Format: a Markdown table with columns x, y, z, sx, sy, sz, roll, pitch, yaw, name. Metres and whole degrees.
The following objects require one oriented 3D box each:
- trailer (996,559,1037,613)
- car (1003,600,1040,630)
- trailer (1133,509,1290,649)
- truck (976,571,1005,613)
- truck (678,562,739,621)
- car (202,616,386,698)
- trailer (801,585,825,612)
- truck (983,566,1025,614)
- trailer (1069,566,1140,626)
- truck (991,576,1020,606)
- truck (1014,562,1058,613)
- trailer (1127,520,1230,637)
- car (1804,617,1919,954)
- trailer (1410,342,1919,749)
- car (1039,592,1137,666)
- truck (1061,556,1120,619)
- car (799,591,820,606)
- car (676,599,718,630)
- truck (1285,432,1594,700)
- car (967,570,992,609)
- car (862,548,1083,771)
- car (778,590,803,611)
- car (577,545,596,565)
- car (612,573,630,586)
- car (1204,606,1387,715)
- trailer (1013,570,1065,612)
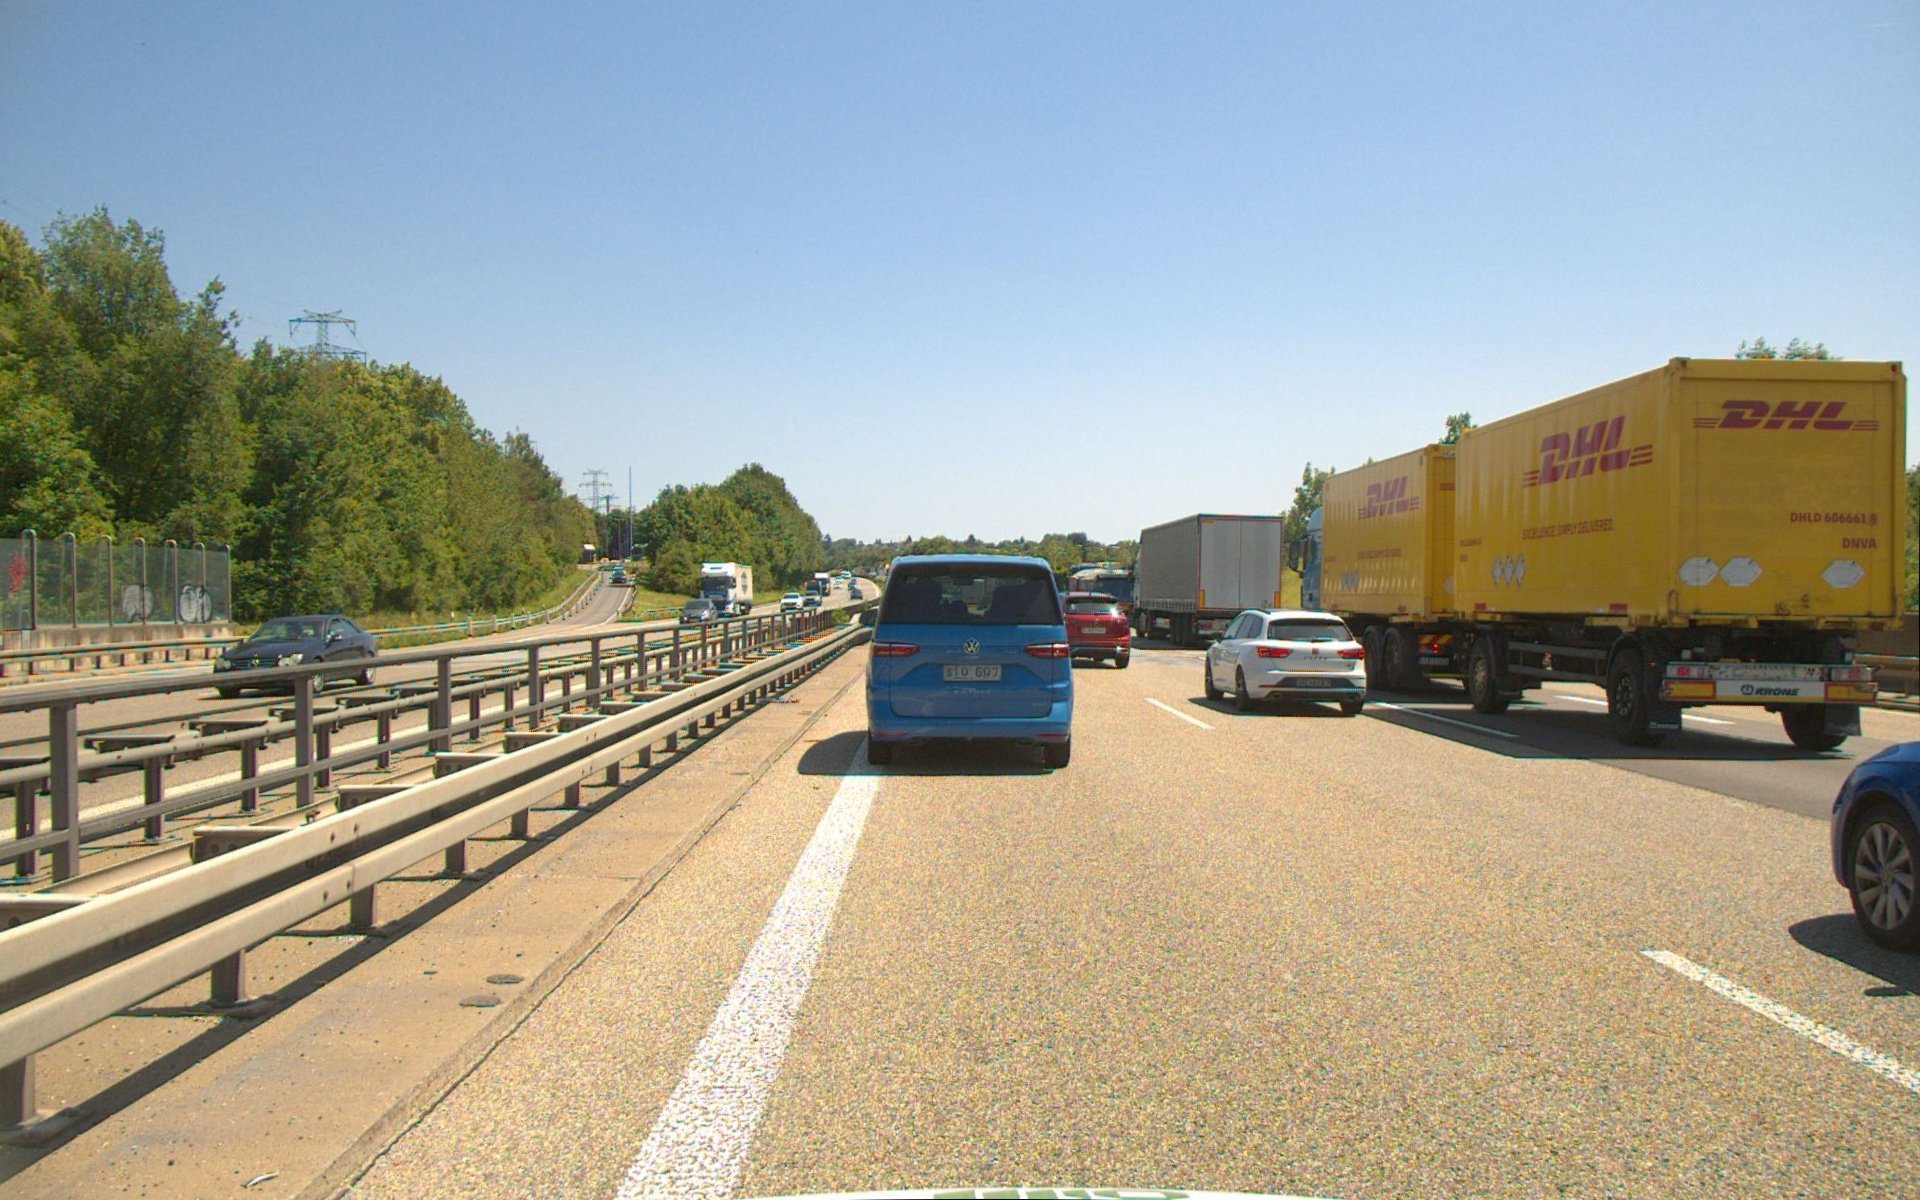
| x | y | z | sx | sy | sz | roll | pitch | yaw | name |
| --- | --- | --- | --- | --- | --- | --- | --- | --- | --- |
| 5.755 | -1.343 | 169.667 | 3.572 | 5.226 | 13.073 | 1 | 0 | -1 | trailer |
| 3.314 | 0.801 | 89.975 | 1.745 | 1.551 | 3.999 | 1 | 0 | -2 | car |
| 8.134 | -0.666 | 55.656 | 2.902 | 4.120 | 13.749 | 0 | 0 | -1 | trailer |
| 3.718 | -0.976 | 206.214 | 3.006 | 5.006 | 10.686 | 1 | 0 | -2 | truck |
| -18.936 | -0.604 | 124.943 | 3.924 | 4.302 | 4.857 | -1 | 0 | -1 | truck |
| -12.316 | 1.009 | 30.885 | 1.725 | 1.342 | 4.269 | -2 | 0 | -1 | car |
| -16.603 | -0.157 | 186.659 | 2.122 | 2.825 | 5.375 | -3 | 0 | -1 | trailer |
| 4.949 | -1.064 | 189.881 | 3.549 | 5.304 | 15.680 | 1 | 0 | -3 | truck |
| 7.451 | -0.296 | 86.612 | 2.688 | 2.886 | 9.114 | 1 | 1 | -1 | trailer |
| 2.991 | -0.571 | 109.242 | 1.690 | 1.890 | 3.999 | 1 | 0 | -2 | truck |
| 6.506 | -1.038 | 142.622 | 3.551 | 4.166 | 7.524 | 1 | 0 | 1 | truck |
| 8.037 | -0.785 | 61.538 | 2.865 | 4.114 | 6.409 | 0 | 1 | -1 | trailer |
| 5.055 | 0.822 | 5.994 | 1.671 | 1.466 | 4.427 | 1 | 0 | -1 | car |
| 8.645 | -0.547 | 21.895 | 2.709 | 4.189 | 9.375 | 1 | 0 | -1 | trailer |
| 2.875 | 0.640 | 37.934 | 1.833 | 1.579 | 3.999 | 1 | 0 | -1 | car |
| 7.362 | -0.764 | 93.879 | 2.688 | 3.369 | 7.132 | 1 | 1 | 0 | truck |
| -16.527 | -0.167 | 181.740 | 1.832 | 1.654 | 4.628 | 1 | 0 | -1 | car |
| -13.600 | 0.738 | 85.586 | 1.619 | 1.488 | 3.541 | -1 | 0 | -1 | car |
| 8.545 | -0.511 | 31.061 | 2.709 | 4.181 | 9.950 | 1 | 0 | -1 | truck |
| 2.749 | -1.427 | 233.070 | 3.153 | 5.349 | 8.142 | 1 | 0 | -1 | car |
| 0.106 | 0.519 | 16.105 | 1.862 | 1.870 | 4.000 | 1 | 0 | 0 | car |
| -14.746 | 0.064 | 144.170 | 1.713 | 1.725 | 4.384 | -2 | 0 | -1 | car |
| -57.730 | -6.934 | 255.482 | 2.038 | 2.930 | 6.693 | -1 | 0 | -20 | car |
| -45.001 | -2.660 | 219.649 | 1.956 | 1.603 | 5.265 | 1 | 0 | -8 | car |
| 4.770 | 0.813 | 24.082 | 1.829 | 1.385 | 4.000 | 1 | 0 | 0 | car |
| 6.318 | -0.639 | 134.144 | 3.571 | 3.133 | 15.772 | 1 | 0 | 1 | trailer |
